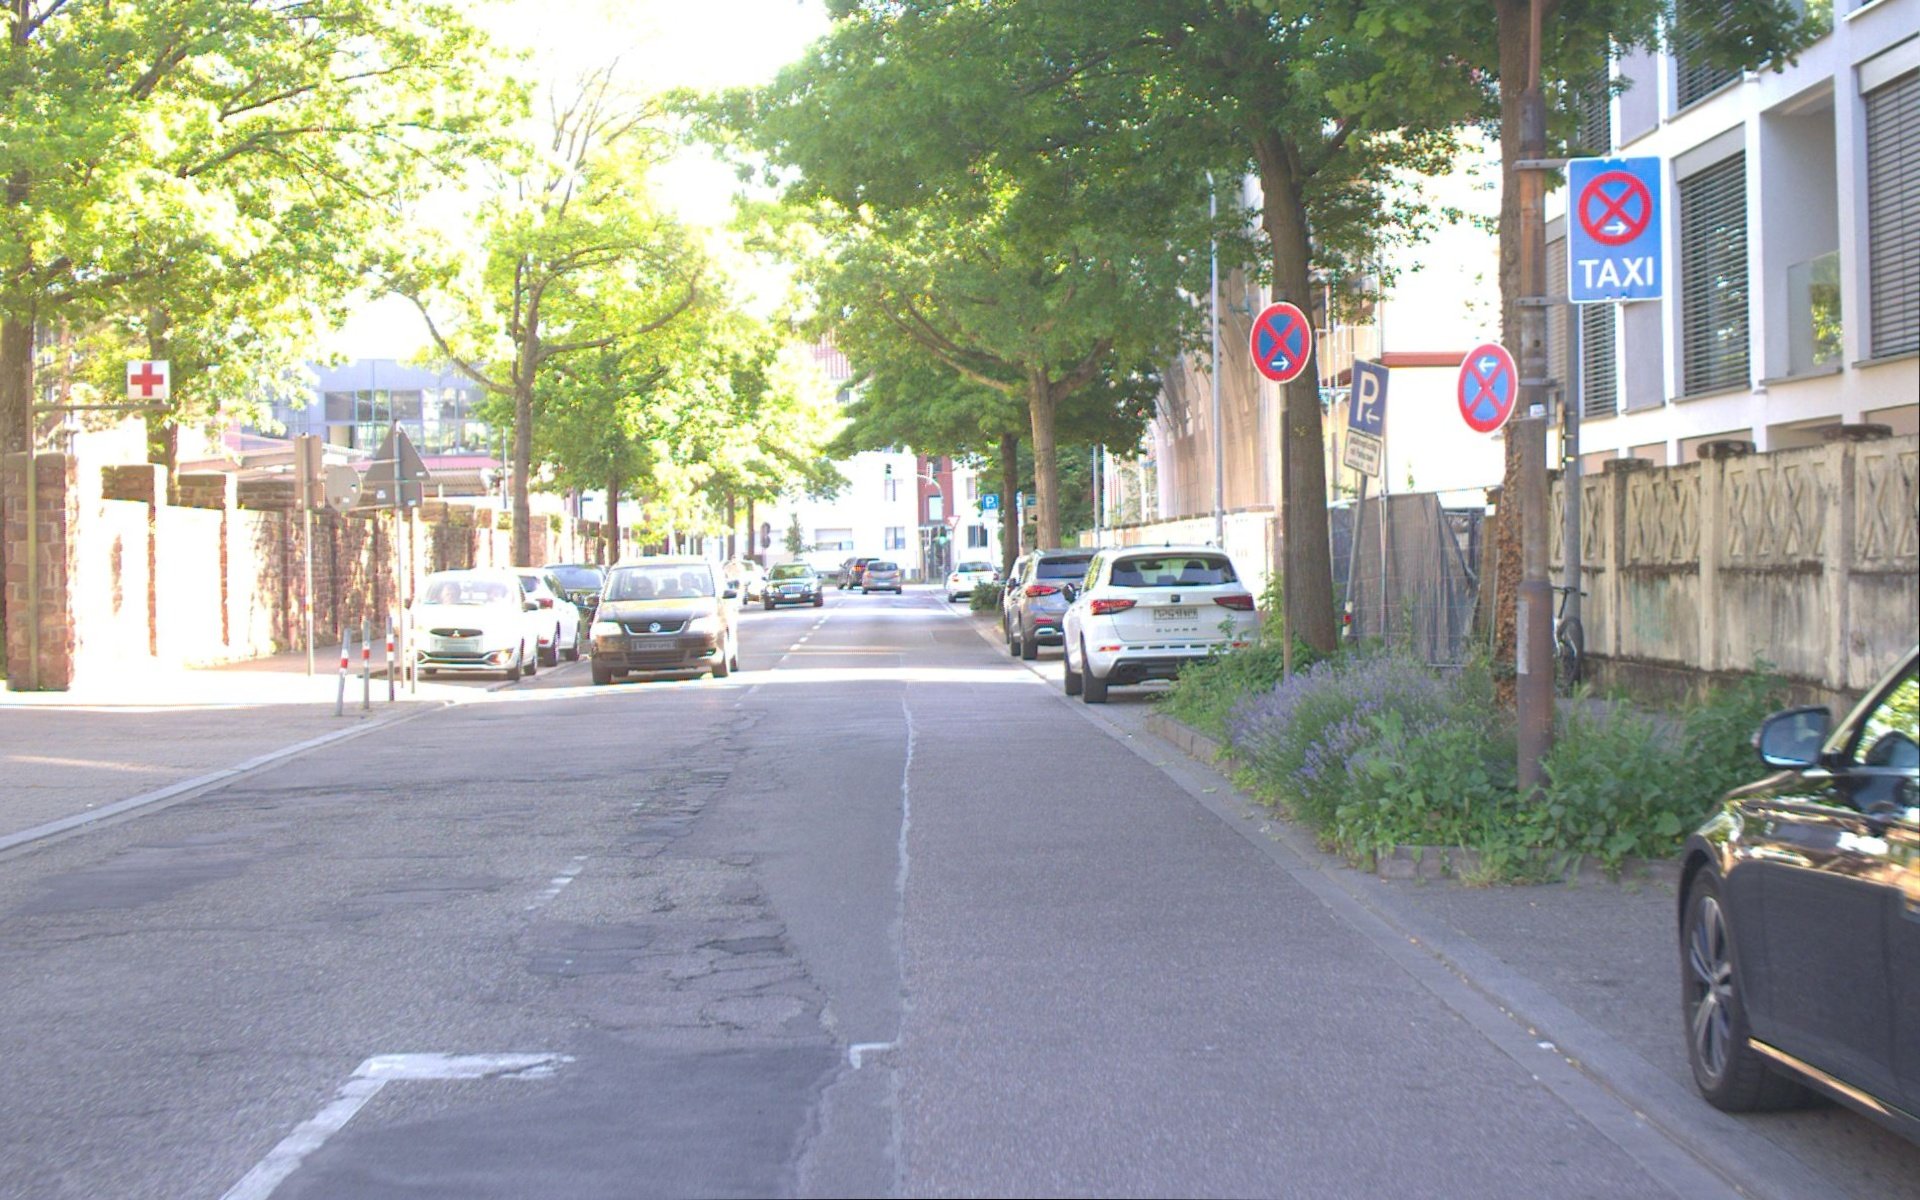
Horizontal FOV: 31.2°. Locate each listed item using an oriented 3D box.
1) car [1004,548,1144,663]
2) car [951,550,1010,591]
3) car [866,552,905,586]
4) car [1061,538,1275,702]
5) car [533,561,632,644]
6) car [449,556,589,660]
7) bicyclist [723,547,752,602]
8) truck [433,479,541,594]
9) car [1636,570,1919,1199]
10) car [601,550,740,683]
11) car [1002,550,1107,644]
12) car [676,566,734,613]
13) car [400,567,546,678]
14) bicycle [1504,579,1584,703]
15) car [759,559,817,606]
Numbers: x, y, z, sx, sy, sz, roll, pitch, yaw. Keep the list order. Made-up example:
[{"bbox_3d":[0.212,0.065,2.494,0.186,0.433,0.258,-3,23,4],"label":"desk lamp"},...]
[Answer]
[{"bbox_3d":[1.675,0.050,51.746,1.712,1.632,4.303,-1,1,-3],"label":"car"},{"bbox_3d":[0.678,-1.000,117.127,1.832,1.318,4.496,-2,1,-2],"label":"car"},{"bbox_3d":[-3.255,-1.360,149.839,1.639,1.438,3.421,1,1,-1],"label":"car"},{"bbox_3d":[2.105,0.169,35.880,1.792,1.610,4.127,0,1,-3],"label":"car"},{"bbox_3d":[-7.159,0.024,65.439,1.573,1.510,4.045,0,1,-2],"label":"car"},{"bbox_3d":[-6.865,0.095,53.808,1.676,1.506,3.850,2,1,-1],"label":"car"},{"bbox_3d":[-6.303,-0.724,97.324,0.721,1.517,1.005,1,0,2],"label":"bicyclist"},{"bbox_3d":[-15.799,-2.095,115.144,2.732,3.698,7.429,1,1,-1],"label":"truck"},{"bbox_3d":[2.789,0.665,7.271,1.720,1.406,4.763,-1,1,-1],"label":"car"},{"bbox_3d":[-3.798,0.181,45.560,1.643,1.606,4.021,-3,1,-3],"label":"car"},{"bbox_3d":[1.676,-0.080,60.759,1.724,1.505,3.992,-2,1,2],"label":"car"},{"bbox_3d":[-8.146,-0.362,110.009,1.608,1.454,3.708,1,1,-1],"label":"car"},{"bbox_3d":[-6.715,0.285,47.684,1.574,1.397,3.751,2,1,-2],"label":"car"},{"bbox_3d":[5.086,0.341,30.019,0.336,1.037,1.831,0,1,-2],"label":"bicycle"},{"bbox_3d":[-5.529,-0.572,110.401,1.821,1.431,3.970,1,1,-3],"label":"car"}]
